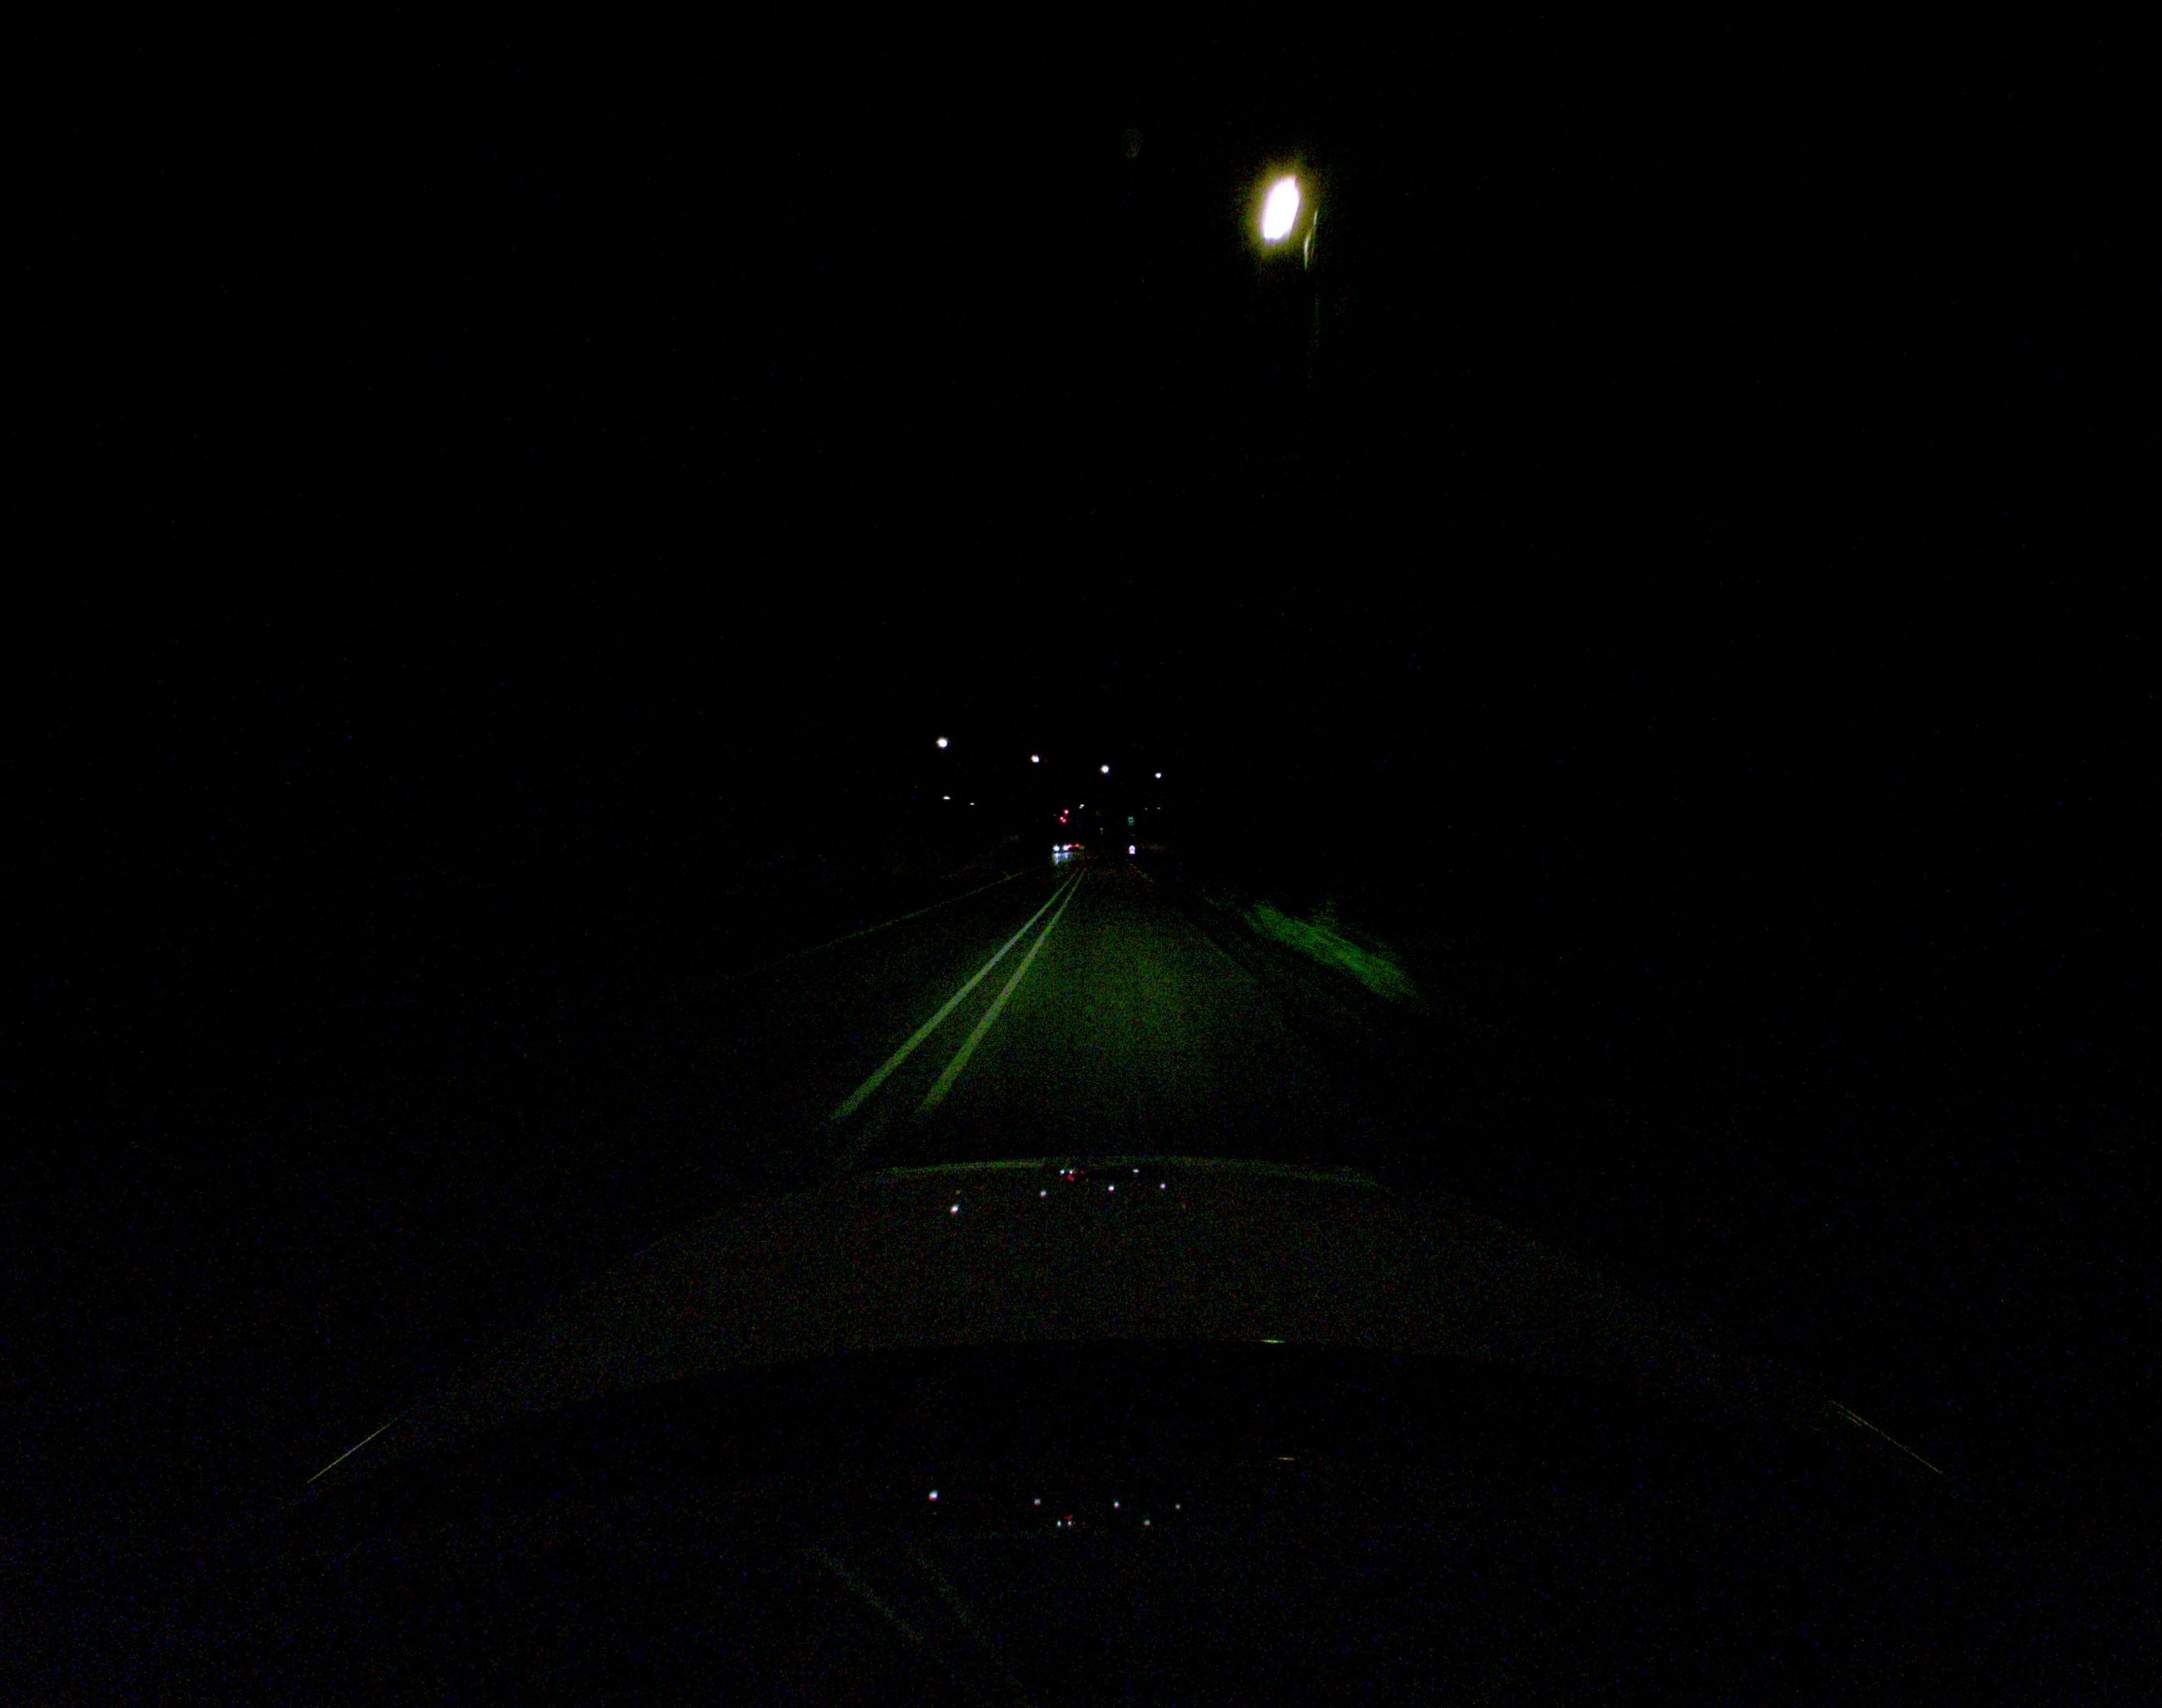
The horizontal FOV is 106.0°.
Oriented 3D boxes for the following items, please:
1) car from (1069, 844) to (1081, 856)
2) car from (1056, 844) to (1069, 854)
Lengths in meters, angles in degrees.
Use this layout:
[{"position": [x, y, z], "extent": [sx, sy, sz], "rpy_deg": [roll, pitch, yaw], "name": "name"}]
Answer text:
[{"position": [-1.130, -0.690, 145.589], "extent": [1.915, 2.014, 4.116], "rpy_deg": [0, -1, -4], "name": "car"}, {"position": [-3.090, -0.744, 134.943], "extent": [1.878, 1.554, 4.212], "rpy_deg": [-3, 0, -3], "name": "car"}]
